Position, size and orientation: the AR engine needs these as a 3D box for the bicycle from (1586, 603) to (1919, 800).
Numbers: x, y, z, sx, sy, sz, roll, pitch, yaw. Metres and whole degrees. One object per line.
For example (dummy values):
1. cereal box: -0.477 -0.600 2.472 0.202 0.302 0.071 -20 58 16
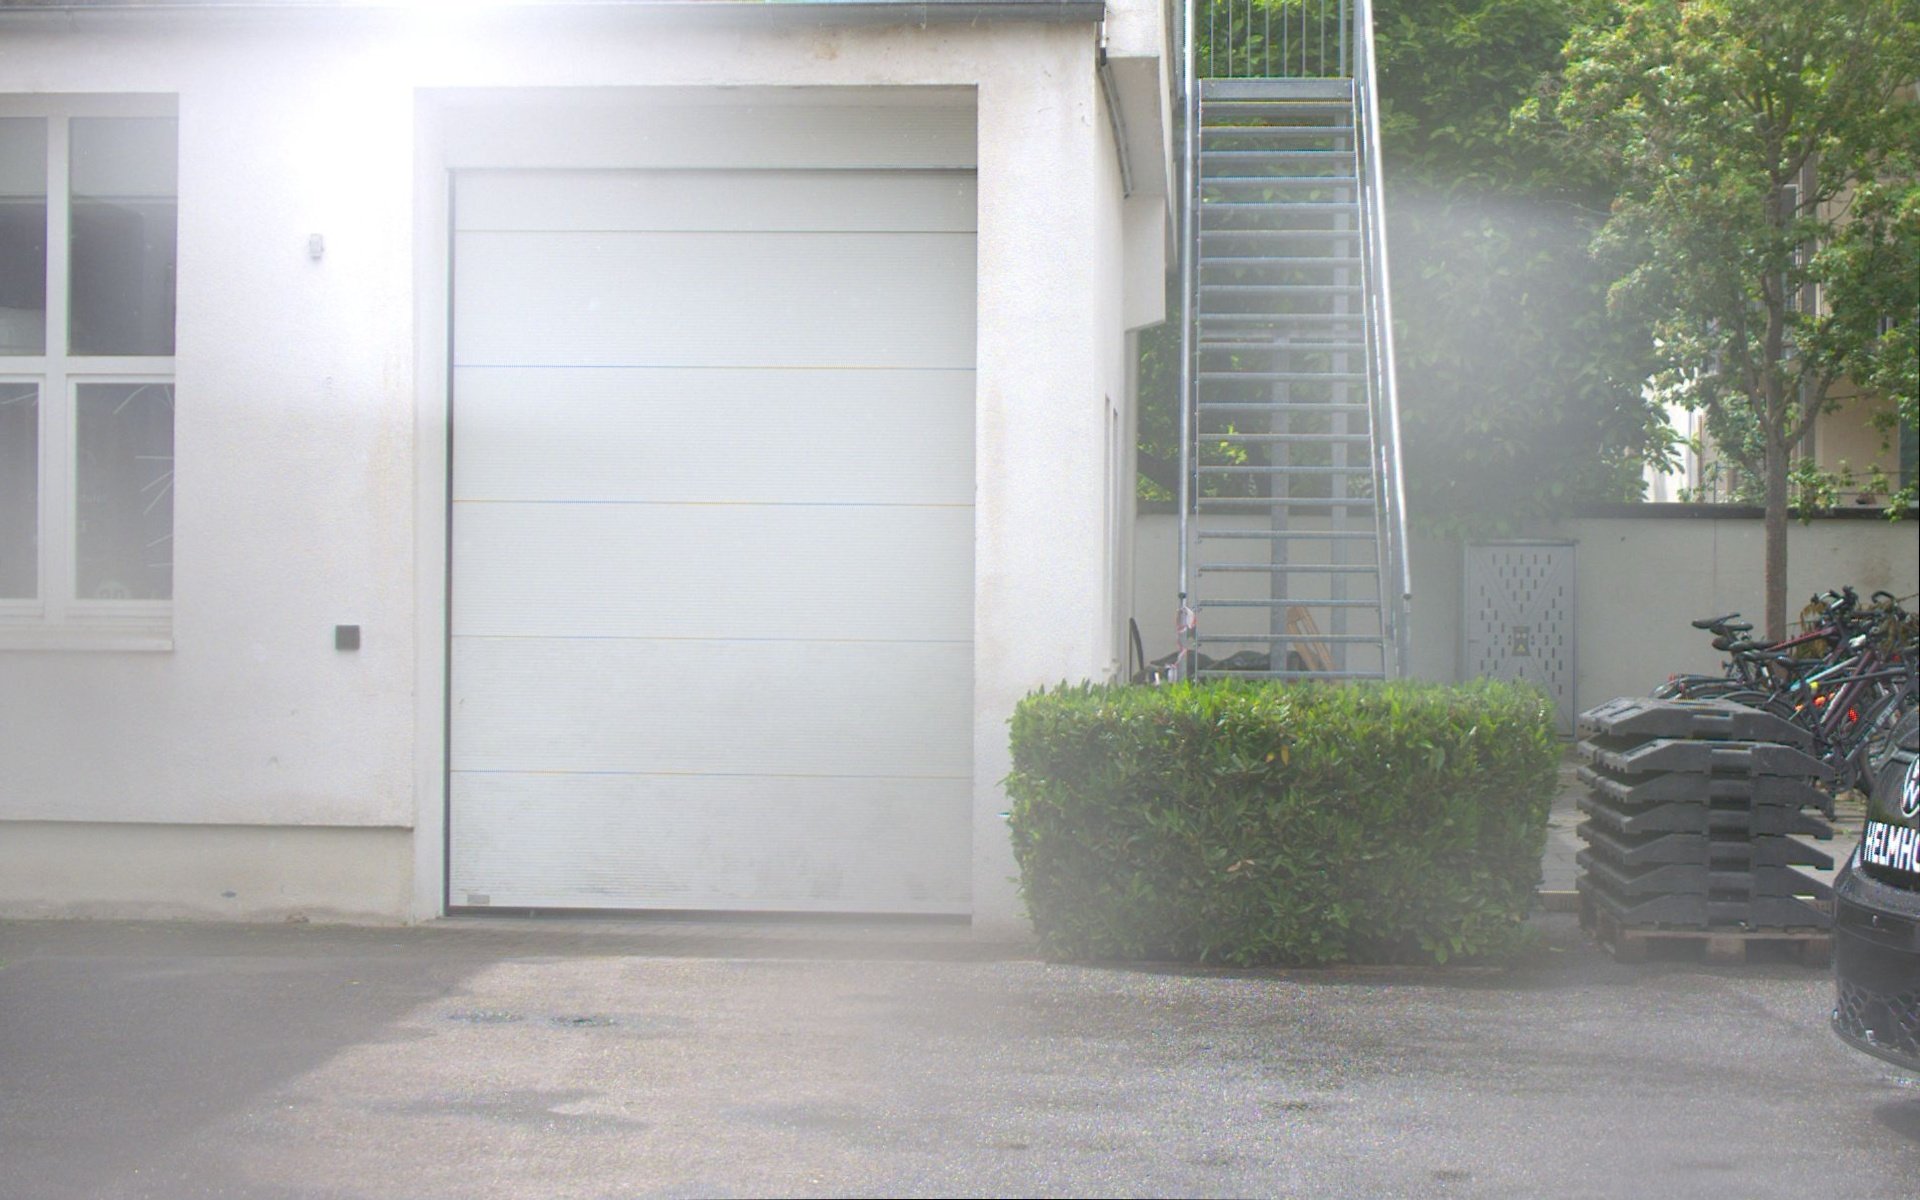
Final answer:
1. bicycle: 5.243 0.614 20.523 2.843 1.074 0.689 2 2 1

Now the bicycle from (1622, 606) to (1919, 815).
1. bicycle: 5.217 0.631 19.255 2.843 1.074 0.689 2 2 1

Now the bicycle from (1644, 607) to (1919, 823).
1. bicycle: 5.195 0.637 18.532 2.843 1.074 0.689 2 2 1

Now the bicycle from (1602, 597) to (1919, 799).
1. bicycle: 5.234 0.579 19.969 2.843 1.074 0.689 2 2 1

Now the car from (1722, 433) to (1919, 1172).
1. car: 4.683 0.469 9.315 4.709 1.827 2.111 -1 1 -3

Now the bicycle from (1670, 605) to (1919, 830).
1. bicycle: 5.200 0.626 17.658 2.923 1.074 0.689 2 2 1
